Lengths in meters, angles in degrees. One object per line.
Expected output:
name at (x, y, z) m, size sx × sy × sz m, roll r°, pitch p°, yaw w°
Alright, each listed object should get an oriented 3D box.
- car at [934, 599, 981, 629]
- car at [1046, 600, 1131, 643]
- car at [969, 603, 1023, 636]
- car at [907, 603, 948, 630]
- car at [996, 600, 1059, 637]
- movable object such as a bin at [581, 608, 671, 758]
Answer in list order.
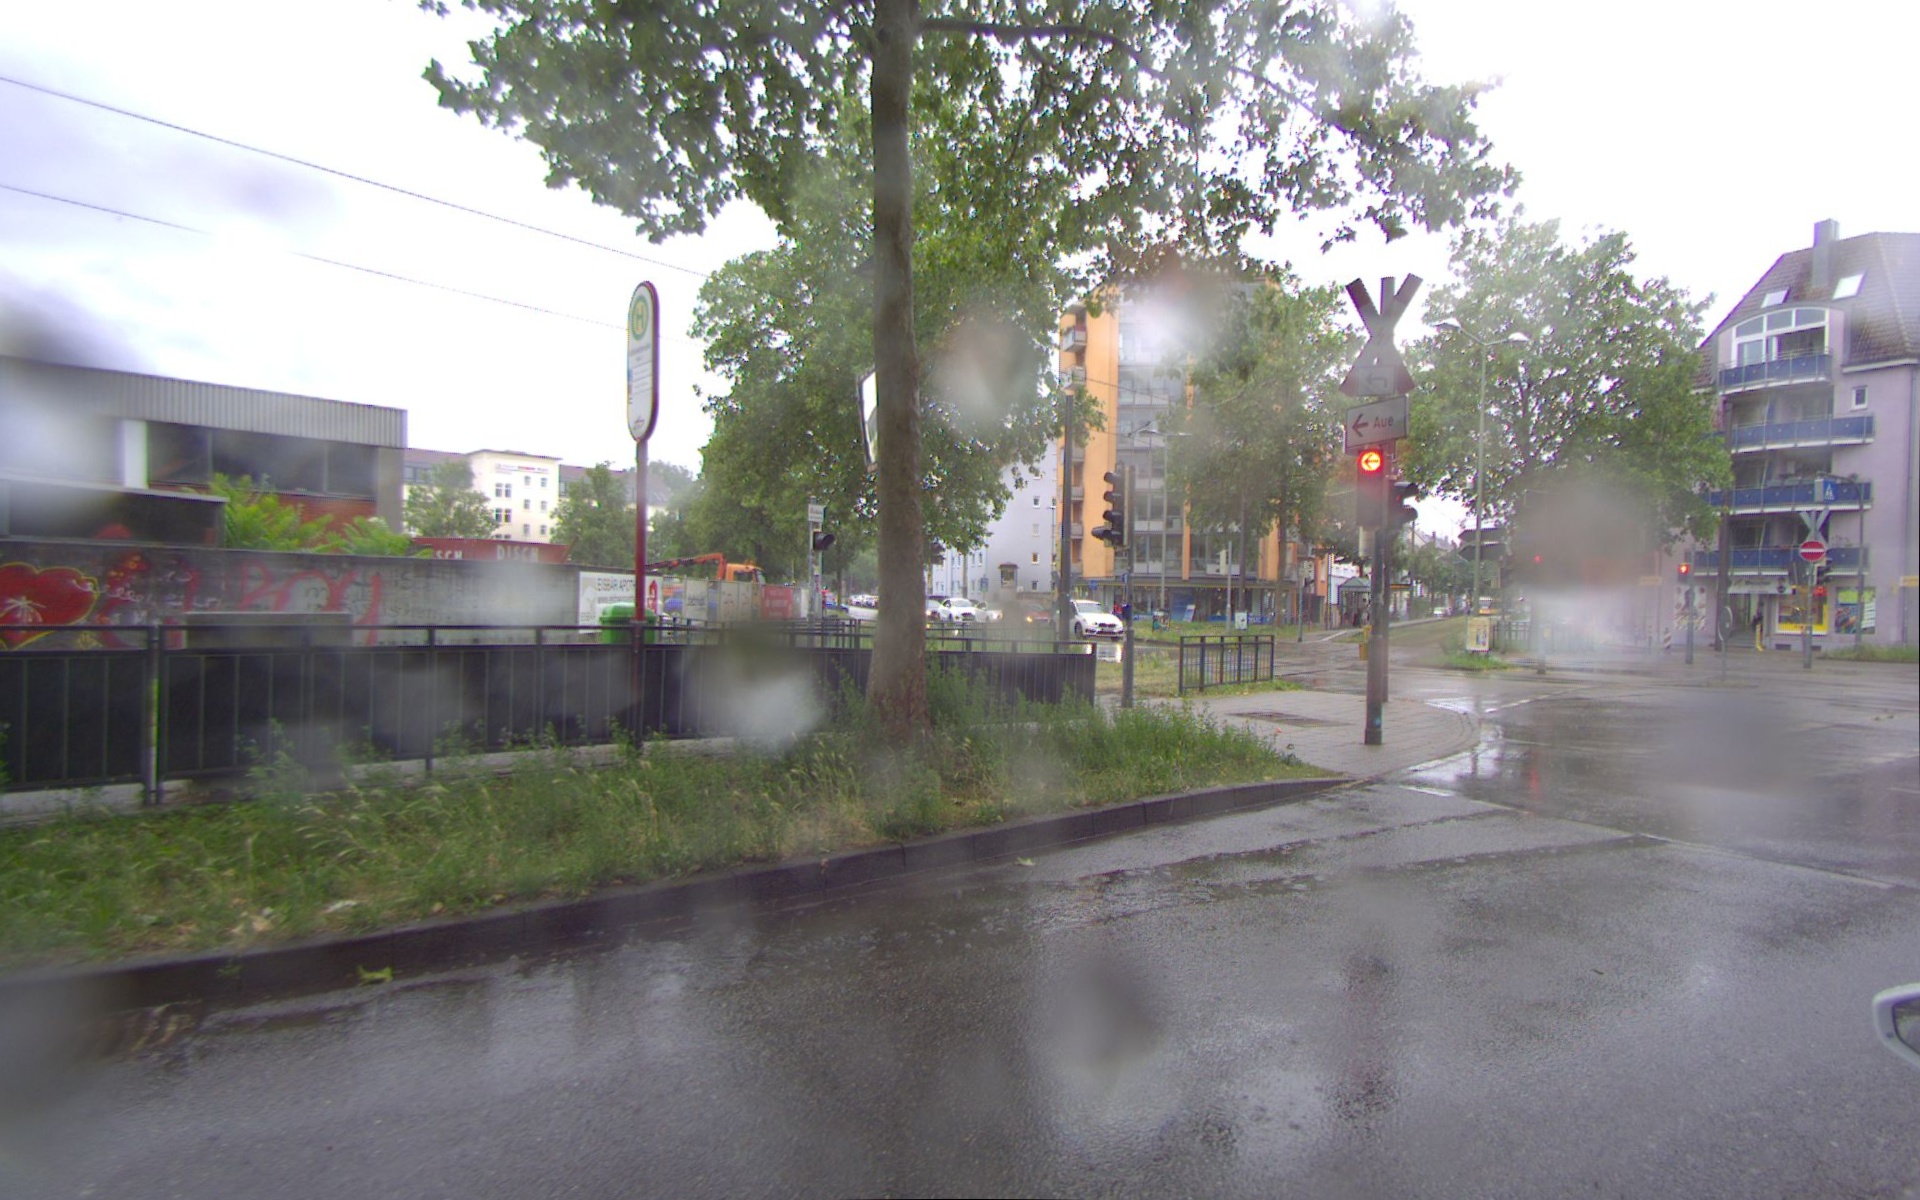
car at (-0.167, 0.841, 58.610) m, size 1.697 × 1.661 × 3.780 m, roll 0°, pitch -1°, yaw -17°
car at (5.120, 0.867, 40.545) m, size 1.941 × 1.673 × 4.004 m, roll 0°, pitch -1°, yaw -17°
car at (1.848, 1.012, 52.529) m, size 1.697 × 1.661 × 3.780 m, roll 0°, pitch -1°, yaw -17°
car at (-2.143, 1.080, 64.670) m, size 1.697 × 1.661 × 3.780 m, roll 0°, pitch -1°, yaw -17°
car at (3.118, 0.878, 46.815) m, size 1.697 × 1.661 × 3.780 m, roll 0°, pitch -1°, yaw -17°
movable object such as a bin at (-2.575, 0.618, 7.748) m, size 0.412 × 1.104 × 0.528 m, roll -1°, pitch -1°, yaw 44°
